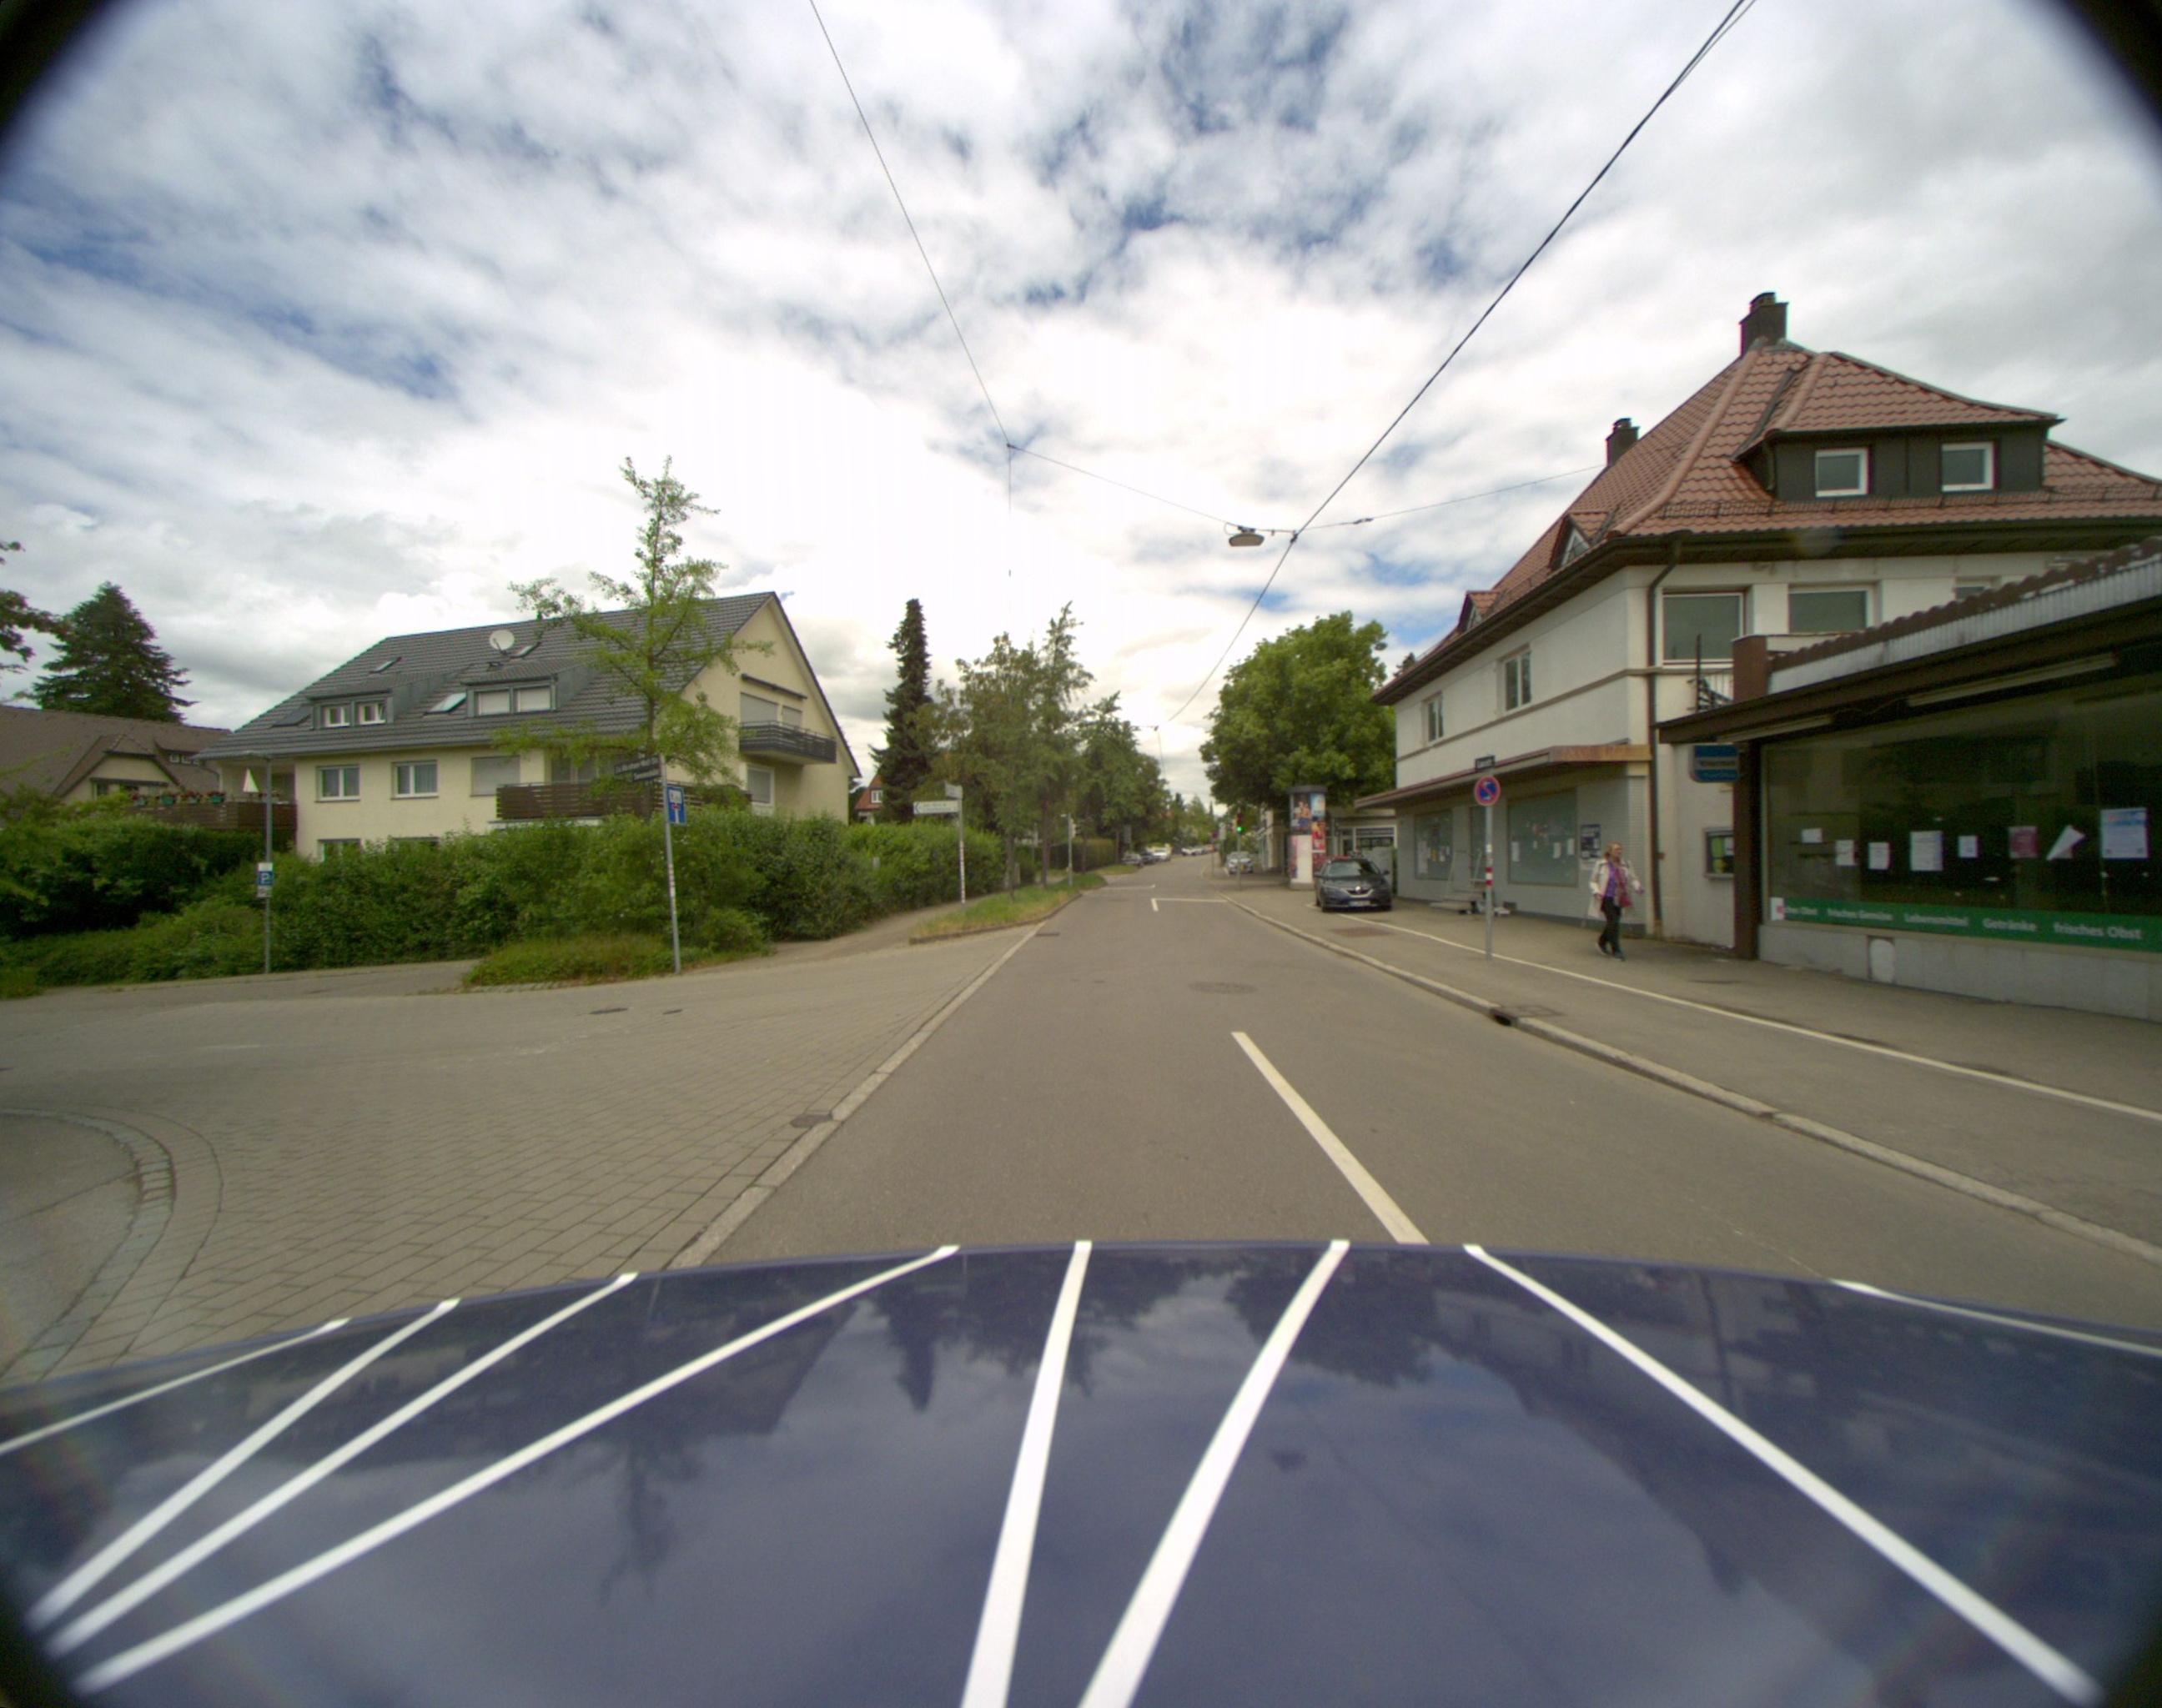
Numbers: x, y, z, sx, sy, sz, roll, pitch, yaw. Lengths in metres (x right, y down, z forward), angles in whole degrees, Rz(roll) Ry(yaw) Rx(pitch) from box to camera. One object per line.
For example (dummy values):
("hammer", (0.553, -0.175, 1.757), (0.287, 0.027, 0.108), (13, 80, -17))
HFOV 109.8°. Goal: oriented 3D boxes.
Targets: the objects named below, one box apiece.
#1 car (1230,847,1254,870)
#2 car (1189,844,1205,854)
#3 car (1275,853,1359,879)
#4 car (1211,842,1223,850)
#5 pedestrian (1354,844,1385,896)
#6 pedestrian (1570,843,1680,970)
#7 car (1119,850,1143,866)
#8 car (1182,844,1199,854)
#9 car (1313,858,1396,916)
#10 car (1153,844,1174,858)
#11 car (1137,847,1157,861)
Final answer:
("car", (11.594, 0.322, 54.878), (1.591, 1.529, 2.926), (-3, 0, 11))
("car", (19.634, -0.837, 128.470), (1.831, 1.614, 4.497), (-1, 1, 18))
("car", (13.405, 0.695, 43.303), (4.221, 1.423, 1.821), (-1, -2, 36))
("car", (27.617, -1.613, 154.249), (1.953, 1.617, 4.380), (-2, 1, 16))
("pedestrian", (9.708, 0.527, 25.579), (0.887, 1.708, 0.762), (-3, 0, 21))
("pedestrian", (7.881, 0.728, 11.049), (0.884, 1.740, 0.963), (-1, 1, 0))
("car", (4.887, 0.405, 73.902), (1.712, 1.404, 3.793), (-3, 1, 12))
("car", (17.477, -0.772, 121.240), (2.289, 1.515, 1.320), (0, 1, 22))
("car", (7.796, 0.879, 22.010), (1.782, 1.433, 4.530), (-3, 0, 14))
("car", (10.380, -0.392, 95.524), (1.868, 1.675, 4.354), (-1, 1, 15))
("car", (7.362, -0.039, 84.901), (1.712, 1.479, 3.793), (-1, 1, 13))
